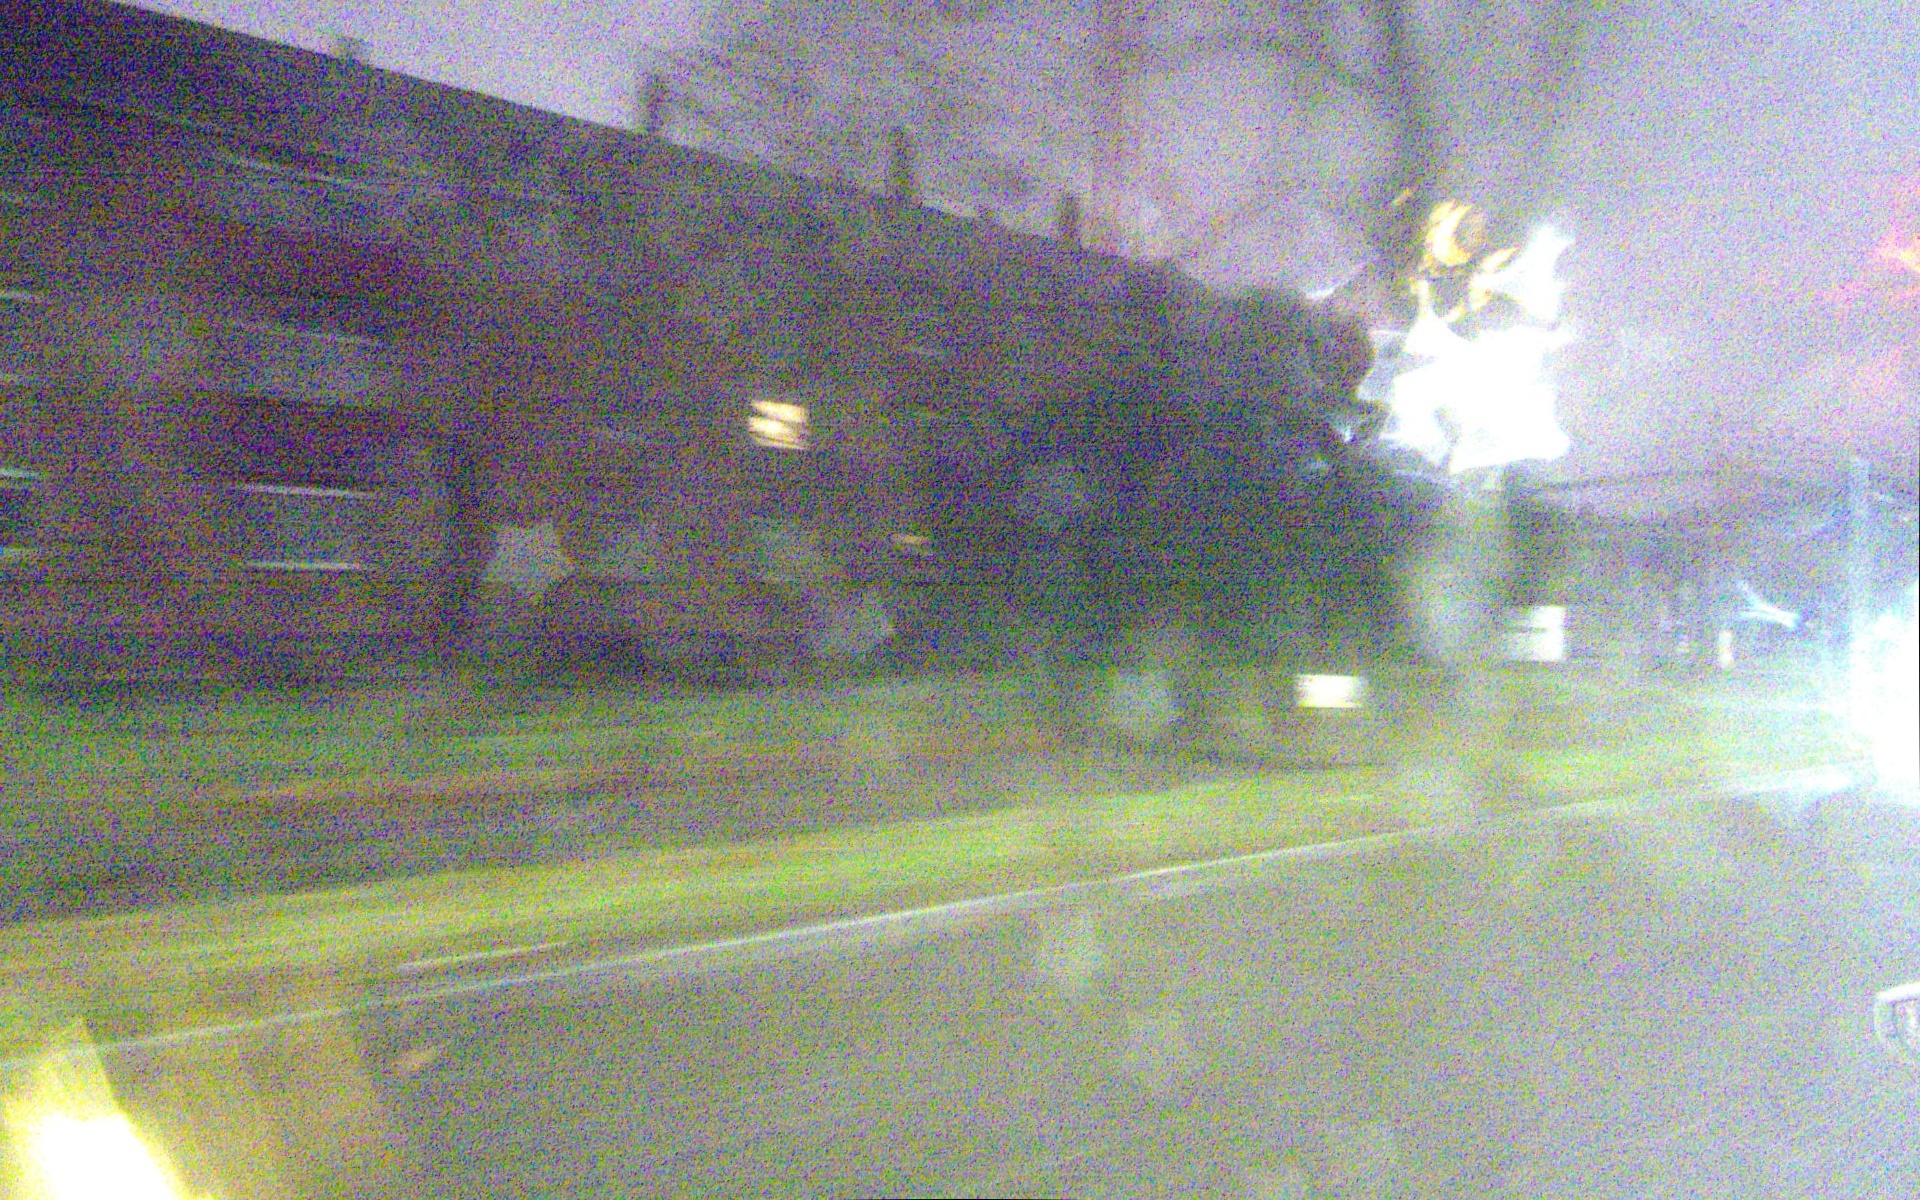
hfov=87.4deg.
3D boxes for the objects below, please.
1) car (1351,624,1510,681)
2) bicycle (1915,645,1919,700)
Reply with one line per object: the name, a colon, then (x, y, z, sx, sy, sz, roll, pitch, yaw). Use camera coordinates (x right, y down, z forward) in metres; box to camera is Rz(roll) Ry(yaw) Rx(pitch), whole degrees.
car: (13.270, 1.457, 28.603, 1.475, 1.388, 4.065, 7, -4, -24)
bicycle: (21.955, 1.575, 22.194, 2.287, 1.176, 0.627, -1, 2, -31)
